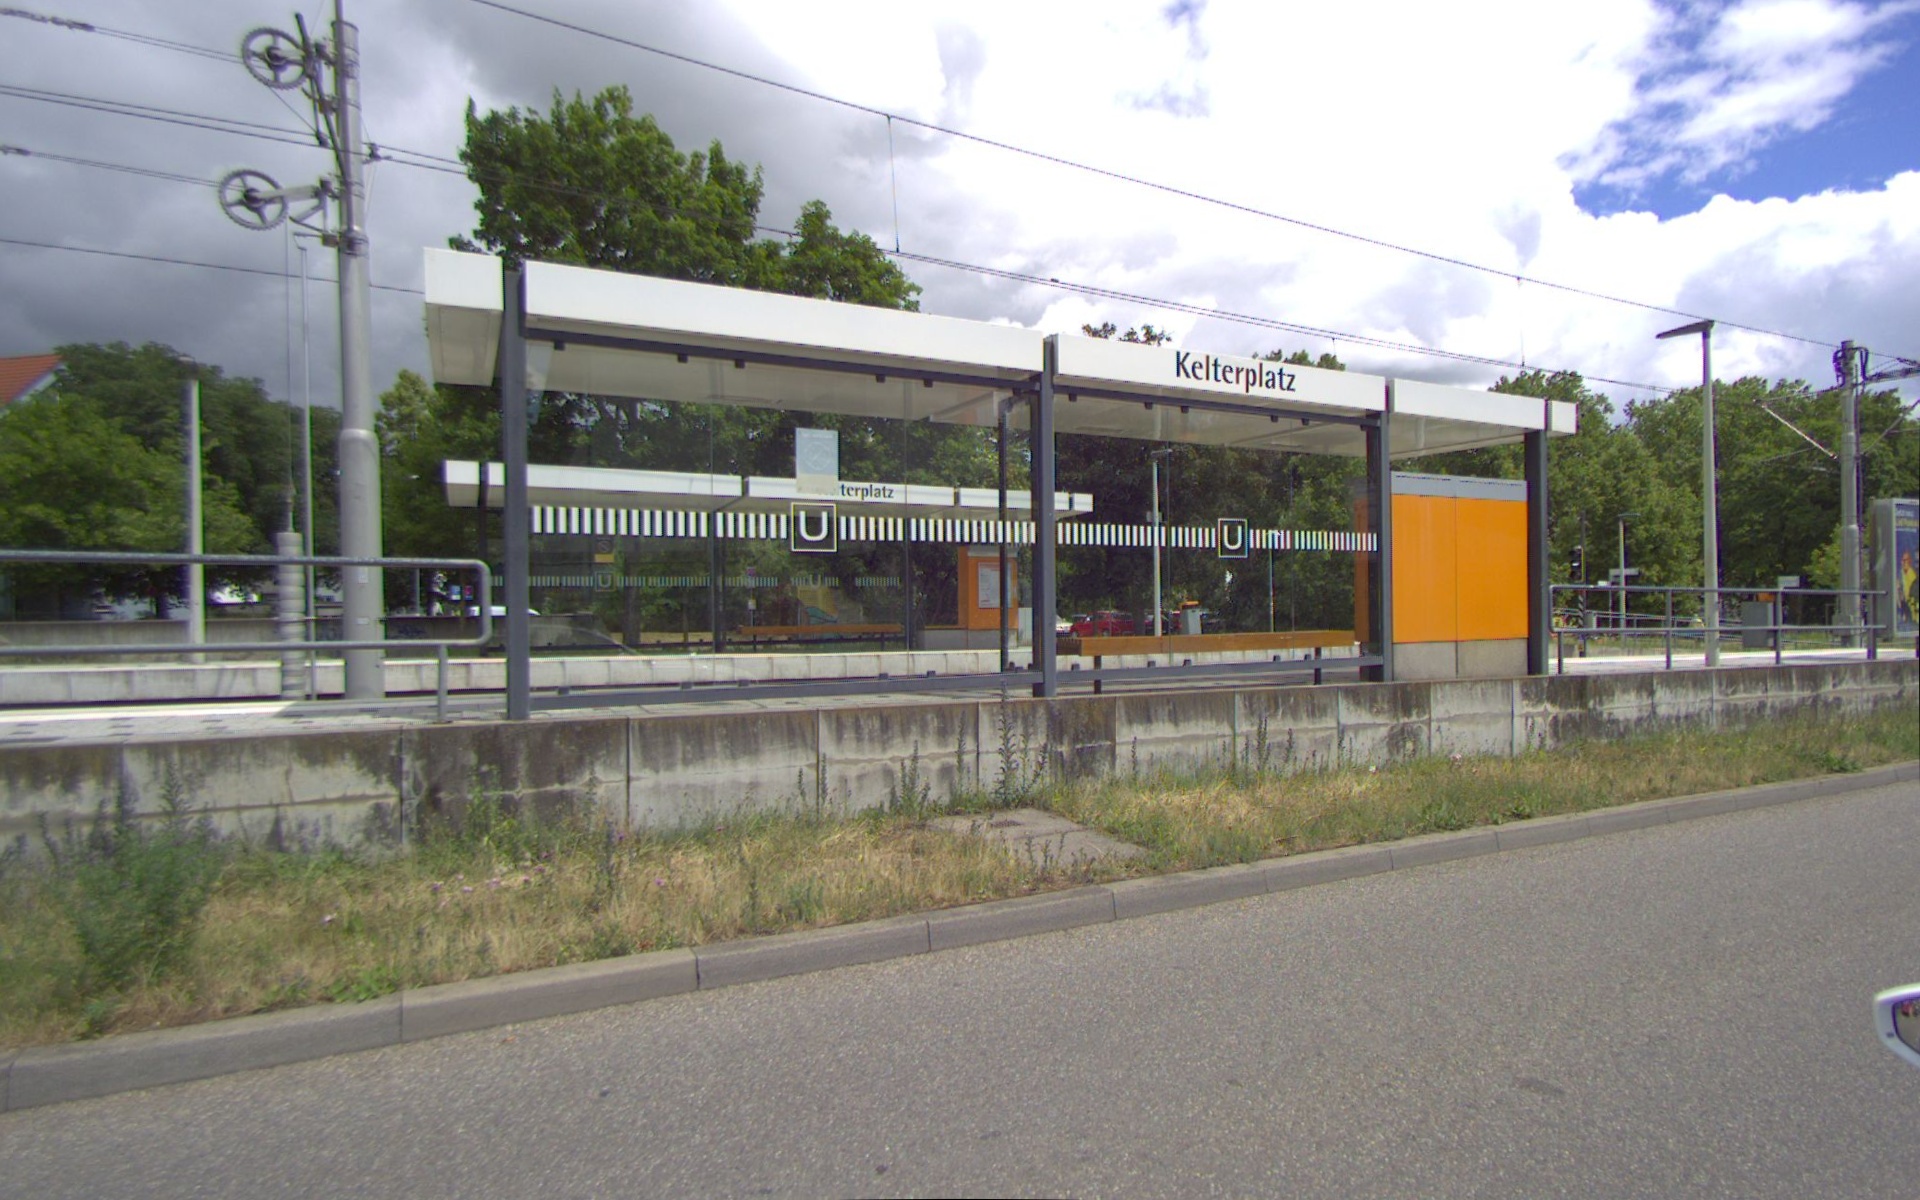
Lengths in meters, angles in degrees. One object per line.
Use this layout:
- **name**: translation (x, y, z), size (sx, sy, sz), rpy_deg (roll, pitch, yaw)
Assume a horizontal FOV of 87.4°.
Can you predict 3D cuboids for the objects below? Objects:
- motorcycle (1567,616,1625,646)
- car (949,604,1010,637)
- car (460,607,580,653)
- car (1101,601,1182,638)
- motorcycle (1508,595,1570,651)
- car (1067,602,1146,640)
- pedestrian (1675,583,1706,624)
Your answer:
- **motorcycle**: translation (24.441, 1.184, 38.579), size (2.182, 1.095, 0.728), rpy_deg (0, 0, -21)
- **car**: translation (1.086, 1.141, 57.743), size (2.157, 1.751, 3.980), rpy_deg (-2, 0, -21)
- **car**: translation (-17.957, 1.178, 41.090), size (4.347, 1.701, 1.936), rpy_deg (-2, 0, -26)
- **car**: translation (8.944, 0.934, 49.783), size (1.950, 1.706, 3.971), rpy_deg (-2, 0, -28)
- **motorcycle**: translation (21.455, 0.833, 37.222), size (1.949, 2.040, 0.834), rpy_deg (-1, 0, -14)
- **car**: translation (7.042, 0.976, 48.518), size (2.027, 1.728, 3.622), rpy_deg (-2, 0, -28)
- **pedestrian**: translation (36.582, 0.170, 50.319), size (0.807, 2.040, 0.962), rpy_deg (-1, 1, -9)
